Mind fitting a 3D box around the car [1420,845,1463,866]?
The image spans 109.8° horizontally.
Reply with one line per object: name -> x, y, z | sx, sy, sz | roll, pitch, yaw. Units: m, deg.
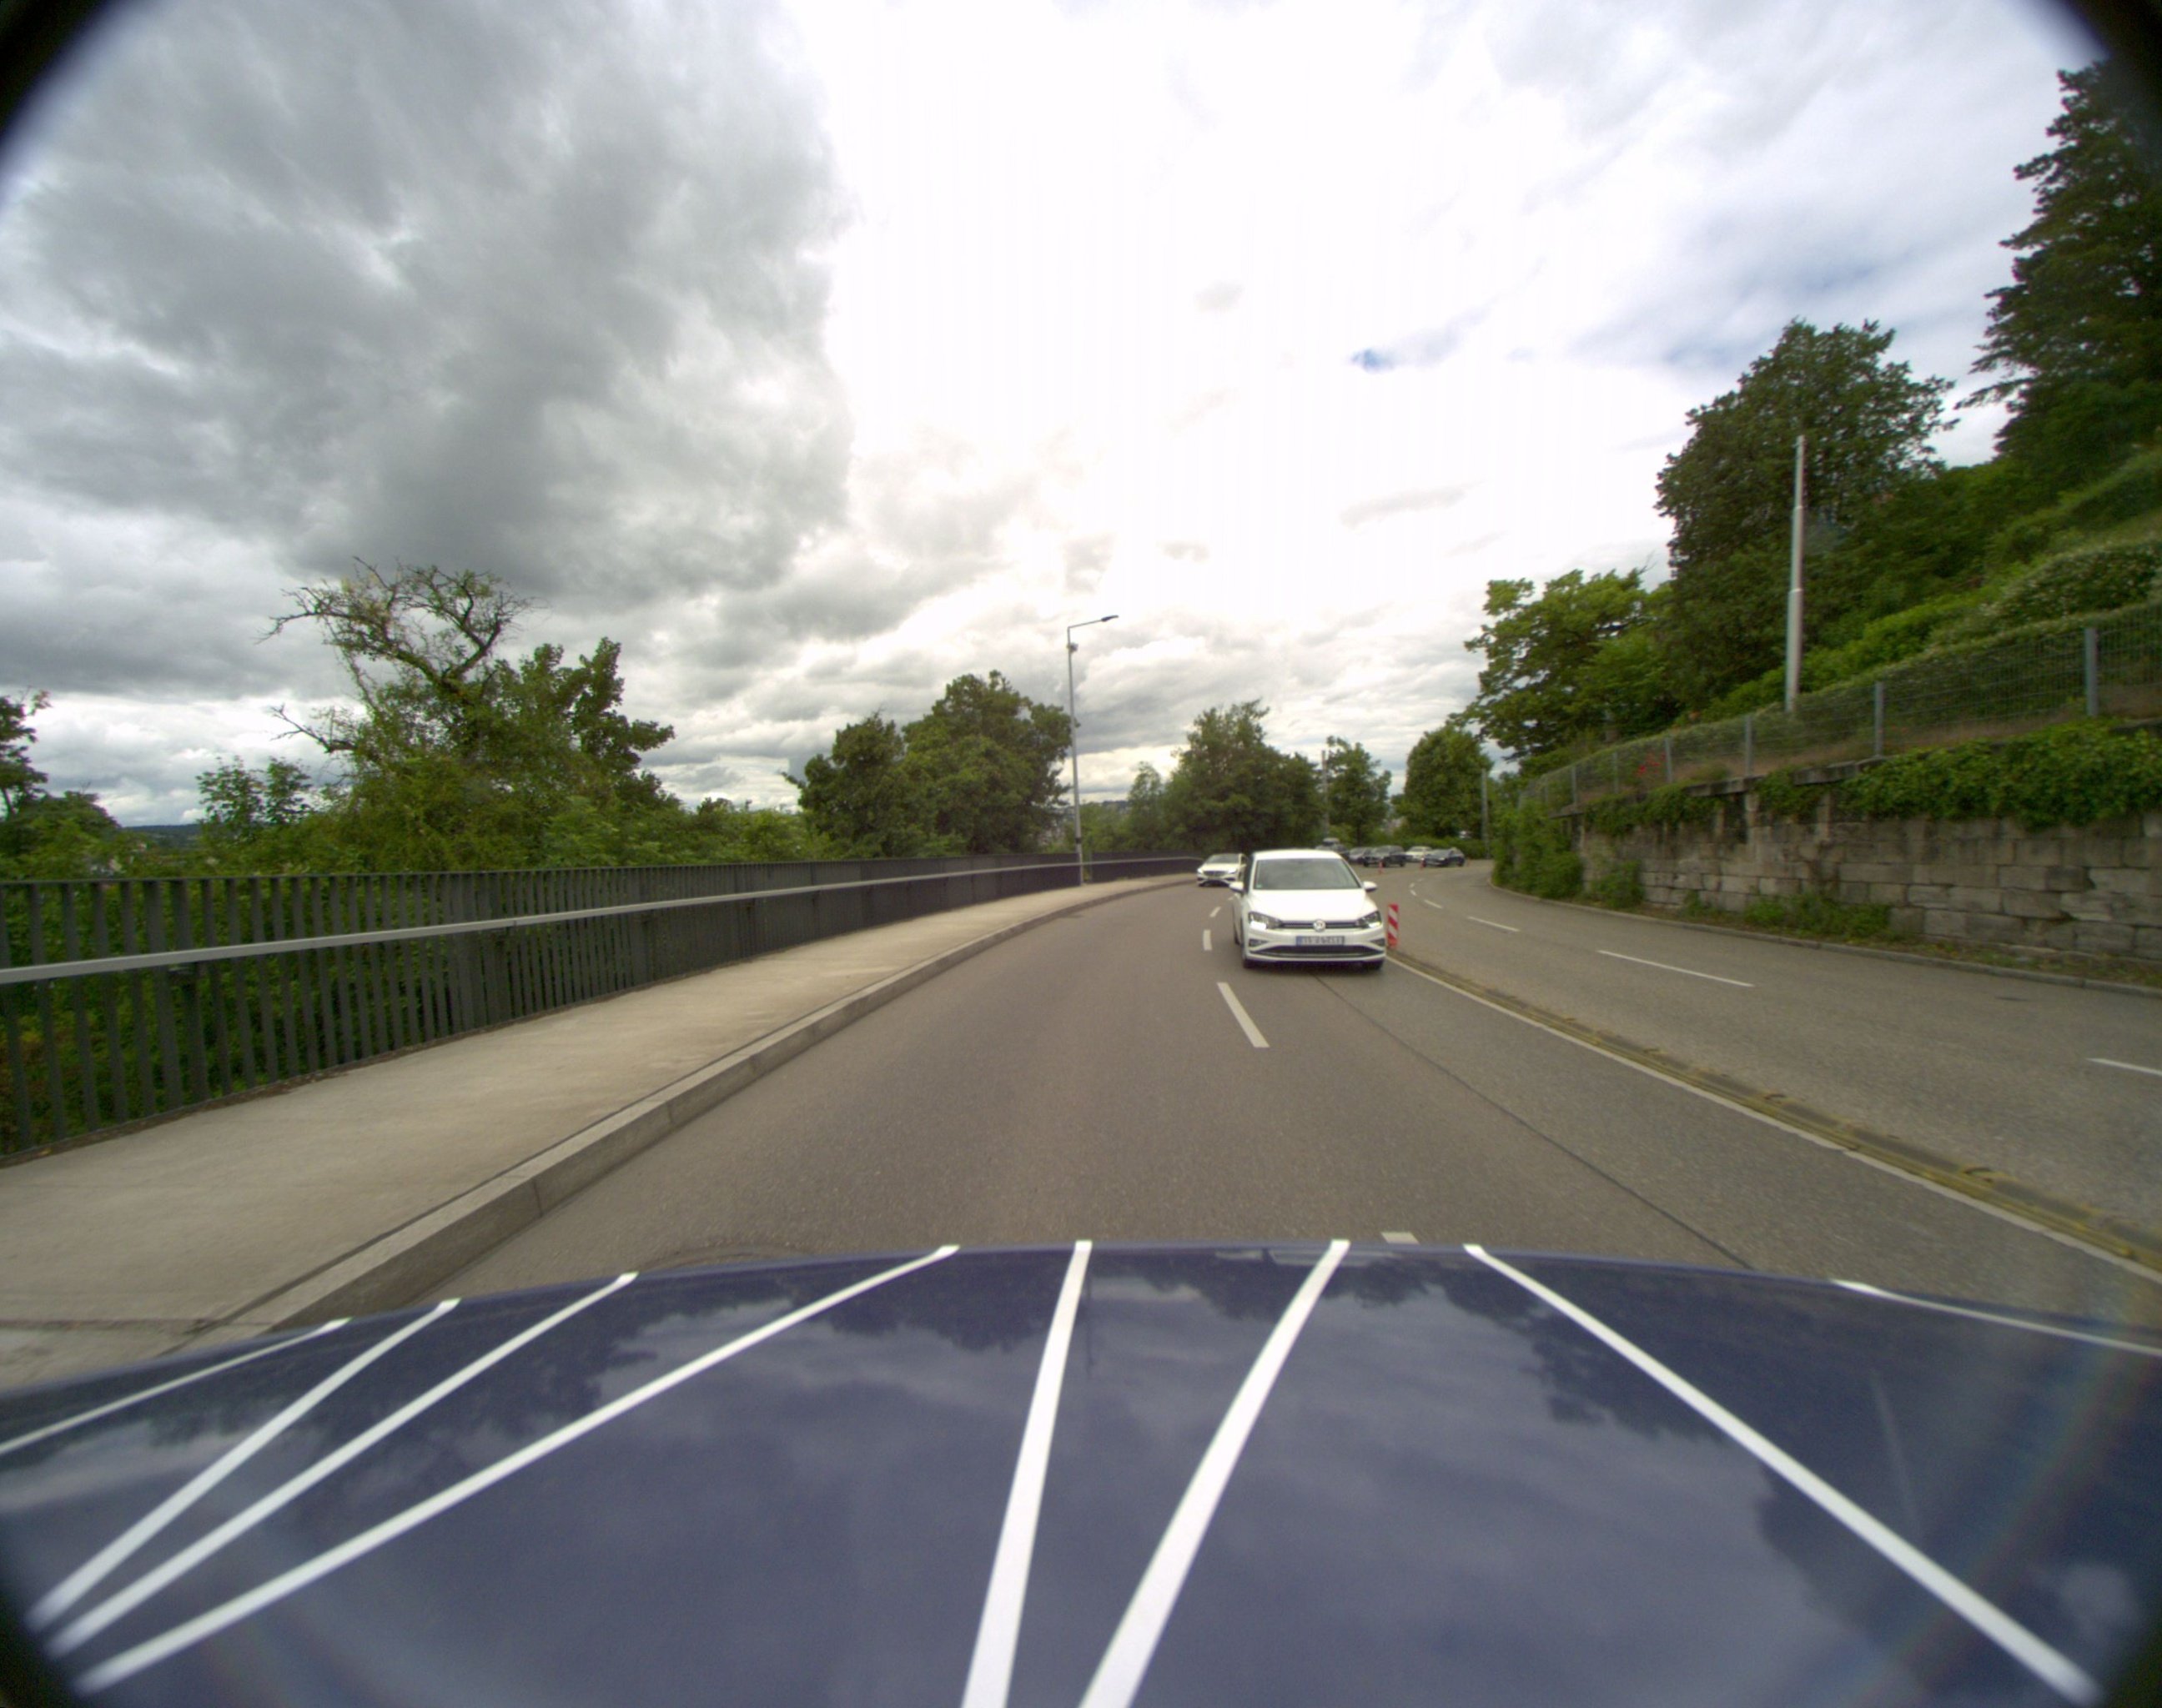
car -> 28.101, 0.100, 59.188 | 1.920, 1.485, 4.149 | -1, 2, 41

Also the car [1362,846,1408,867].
car -> 23.395, 0.169, 58.439 | 1.896, 1.485, 4.149 | 0, 2, 43

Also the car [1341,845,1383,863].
car -> 23.164, -0.001, 62.547 | 1.929, 1.425, 4.008 | 1, 1, 42

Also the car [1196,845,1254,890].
car -> 6.400, 0.536, 33.408 | 1.995, 1.709, 4.004 | 2, 3, 18

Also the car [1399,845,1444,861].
car -> 31.290, -0.116, 69.749 | 4.007, 1.425, 1.929 | -1, 2, -34

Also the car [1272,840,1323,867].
car -> 15.309, -0.033, 53.535 | 1.692, 1.515, 3.926 | 16, 10, 39

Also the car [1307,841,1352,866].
car -> 18.963, -0.080, 57.957 | 1.693, 1.822, 4.413 | 4, 3, 40

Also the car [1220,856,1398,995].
car -> 3.087, 0.842, 11.193 | 1.824, 1.571, 4.358 | 0, 1, 7
